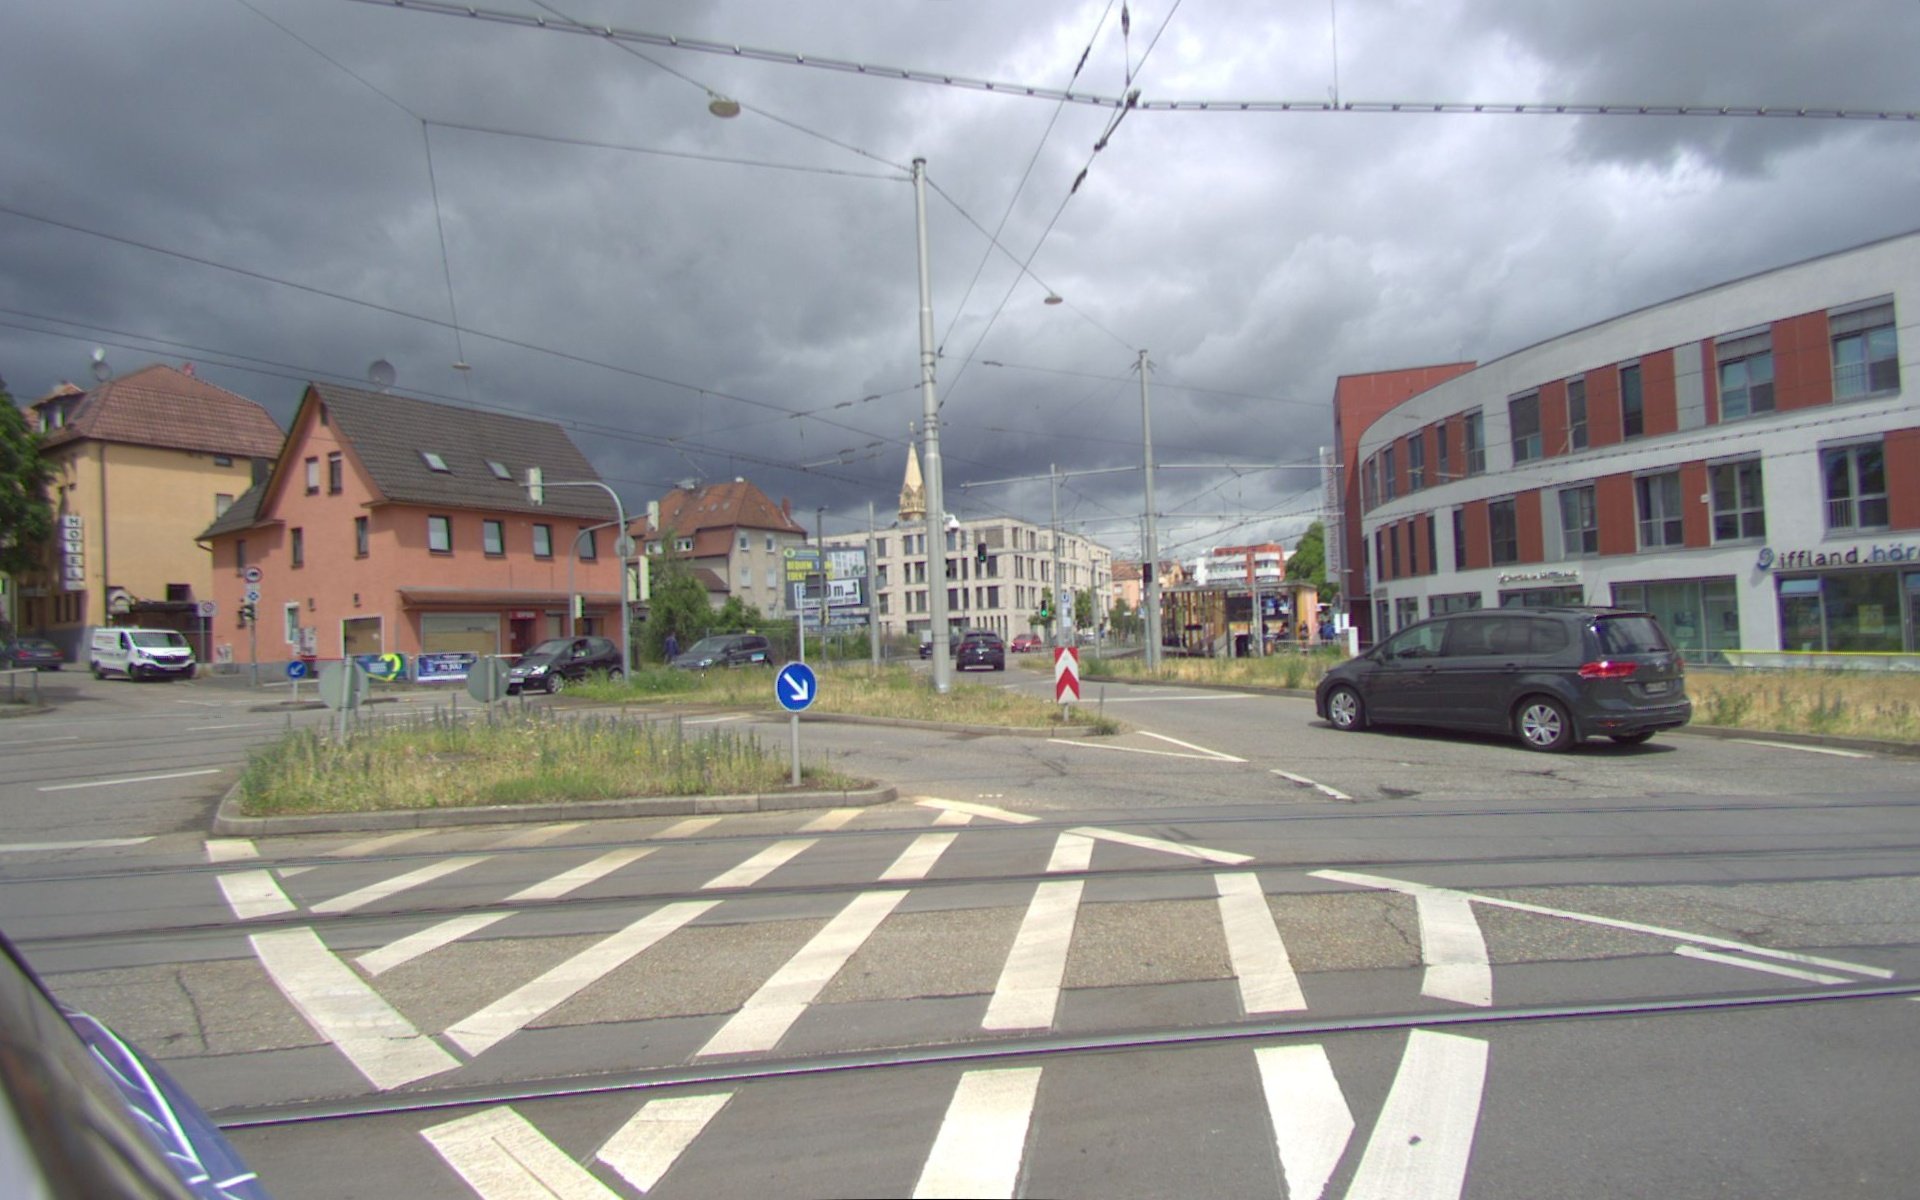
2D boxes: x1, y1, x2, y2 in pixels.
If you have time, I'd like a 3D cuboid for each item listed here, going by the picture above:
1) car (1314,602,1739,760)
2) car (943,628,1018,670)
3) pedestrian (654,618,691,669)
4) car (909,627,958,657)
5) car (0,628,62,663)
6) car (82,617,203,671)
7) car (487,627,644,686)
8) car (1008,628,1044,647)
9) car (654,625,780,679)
[{"bbox_3d":[6.696,0.847,12.529,1.780,1.592,4.310,0,-1,-28],"label":"car"},{"bbox_3d":[0.771,1.968,41.203,1.921,1.581,4.499,2,-2,-14],"label":"car"},{"bbox_3d":[-12.278,1.854,43.246,1.050,2.164,1.115,-2,-2,34],"label":"pedestrian"},{"bbox_3d":[-1.628,2.604,63.597,1.981,1.684,3.982,-3,-2,14],"label":"car"},{"bbox_3d":[-40.592,1.974,43.947,3.120,1.381,1.546,-4,-2,31],"label":"car"},{"bbox_3d":[-31.013,1.658,38.367,4.645,1.912,2.060,-2,-1,31],"label":"car"},{"bbox_3d":[-11.088,1.565,28.712,1.873,1.439,3.966,-3,-2,25],"label":"car"},{"bbox_3d":[5.482,3.065,83.245,1.984,1.469,3.975,-3,-2,18],"label":"car"},{"bbox_3d":[-8.402,1.777,35.357,1.988,1.662,4.383,-3,-2,24],"label":"car"}]
